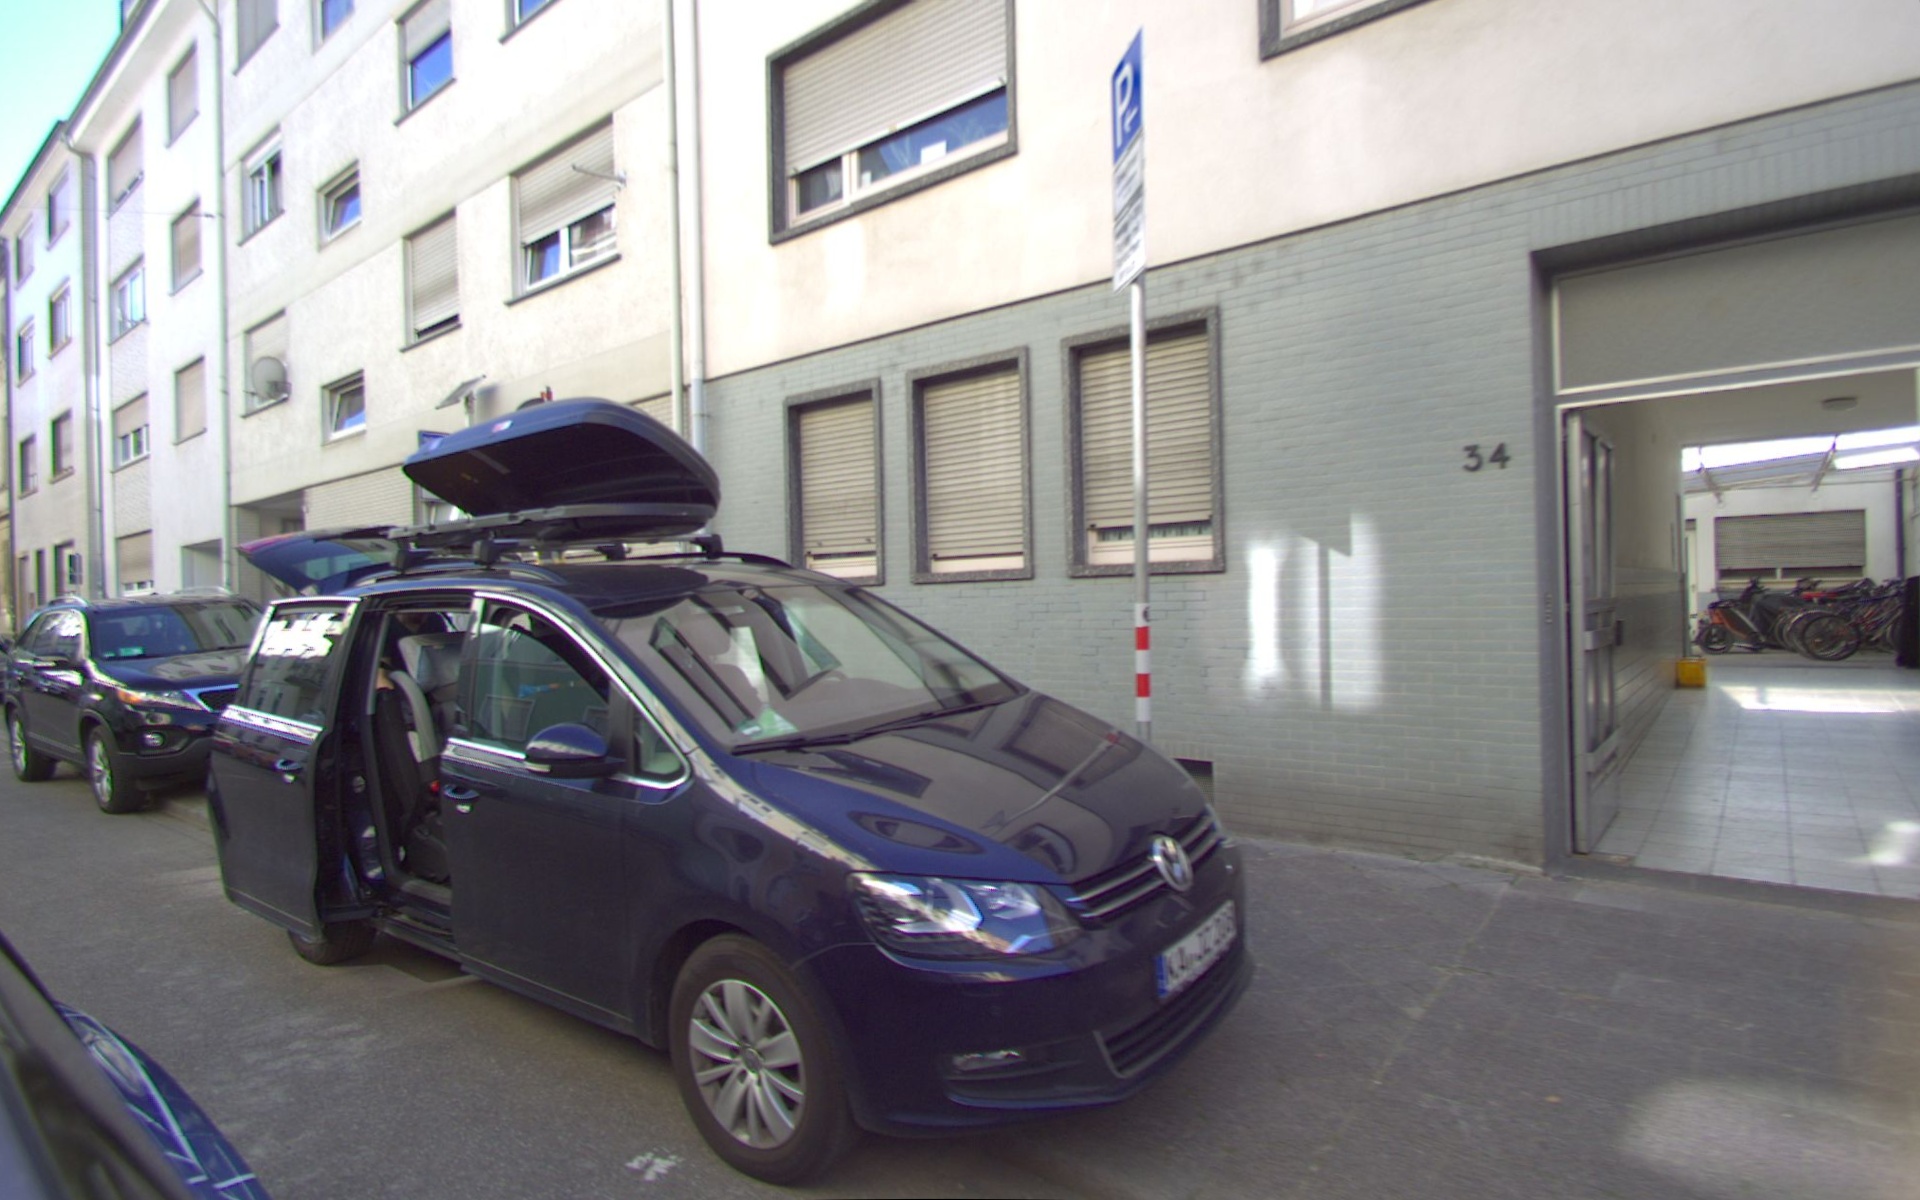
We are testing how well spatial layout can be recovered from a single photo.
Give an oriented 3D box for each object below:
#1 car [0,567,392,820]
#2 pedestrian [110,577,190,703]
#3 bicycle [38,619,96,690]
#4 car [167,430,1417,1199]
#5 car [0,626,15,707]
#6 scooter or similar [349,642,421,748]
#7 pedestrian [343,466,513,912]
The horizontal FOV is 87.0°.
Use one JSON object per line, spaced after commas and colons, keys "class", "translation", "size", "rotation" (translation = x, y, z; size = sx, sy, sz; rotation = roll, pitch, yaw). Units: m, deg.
{"class": "car", "translation": [-7.397, 0.737, 9.415], "size": [4.533, 1.768, 1.863], "rotation": [-2, 2, 36]}
{"class": "pedestrian", "translation": [-13.091, 0.625, 16.369], "size": [0.690, 1.948, 0.798], "rotation": [-2, 1, 39]}
{"class": "bicycle", "translation": [-20.114, 1.205, 22.796], "size": [1.796, 1.520, 0.552], "rotation": [-2, 1, 36]}
{"class": "car", "translation": [-1.171, 0.613, 4.331], "size": [5.237, 1.718, 2.417], "rotation": [-2, 0, 39]}
{"class": "car", "translation": [-19.411, 1.270, 19.059], "size": [4.295, 1.461, 1.690], "rotation": [-2, 0, 38]}
{"class": "scooter or similar", "translation": [-7.518, 1.213, 13.266], "size": [0.431, 1.288, 1.236], "rotation": [-1, -1, -10]}
{"class": "pedestrian", "translation": [-2.920, 0.446, 5.554], "size": [0.687, 2.245, 0.613], "rotation": [0, 0, 39]}
